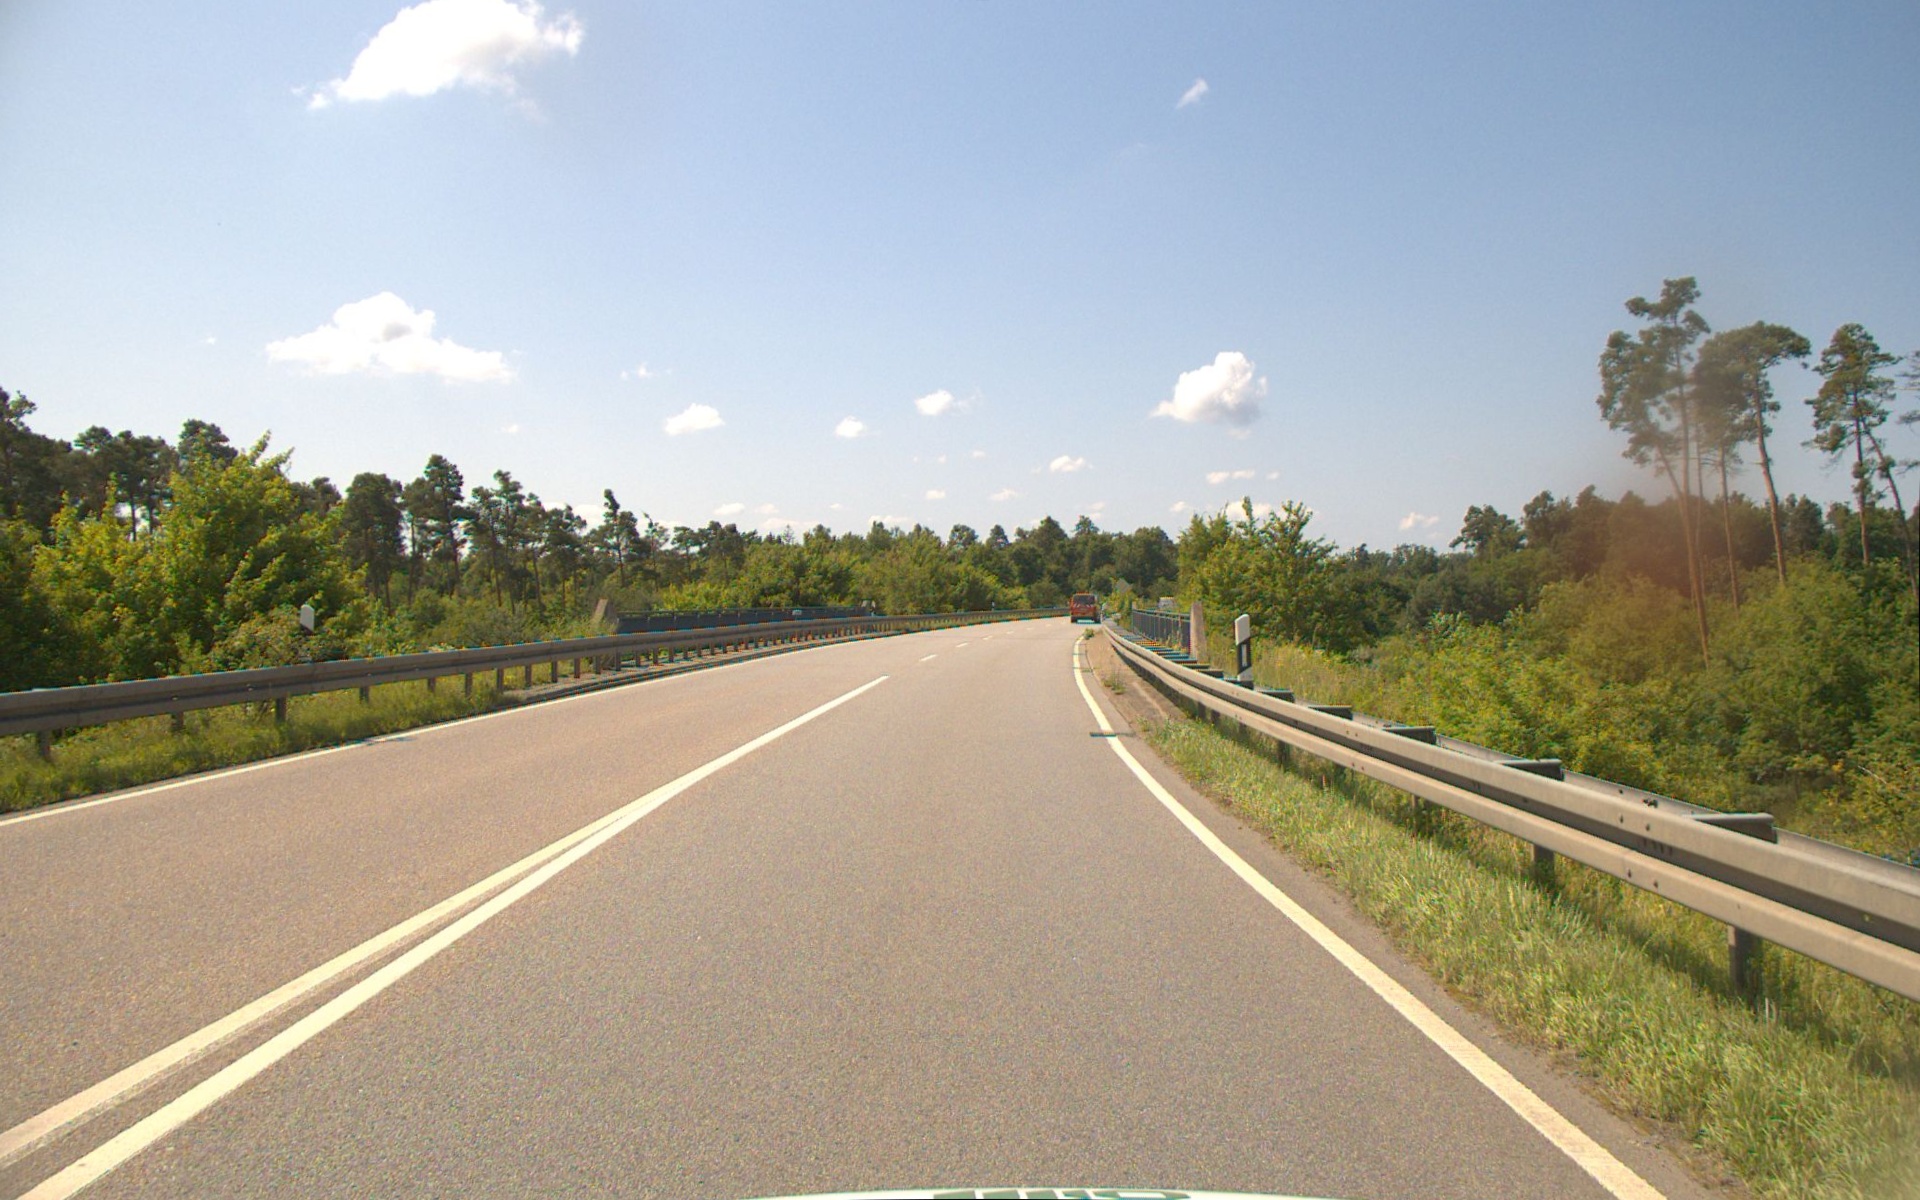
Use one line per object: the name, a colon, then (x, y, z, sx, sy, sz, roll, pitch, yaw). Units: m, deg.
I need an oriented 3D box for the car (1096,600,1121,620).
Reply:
car: (12.196, 0.827, 136.086, 1.965, 1.520, 4.241, 1, 0, 5)

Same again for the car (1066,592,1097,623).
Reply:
car: (8.416, 0.530, 114.152, 2.033, 2.028, 5.114, 1, 0, 5)

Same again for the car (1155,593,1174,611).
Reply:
car: (24.018, 0.198, 194.155, 2.138, 1.989, 5.808, 1, 0, 8)
